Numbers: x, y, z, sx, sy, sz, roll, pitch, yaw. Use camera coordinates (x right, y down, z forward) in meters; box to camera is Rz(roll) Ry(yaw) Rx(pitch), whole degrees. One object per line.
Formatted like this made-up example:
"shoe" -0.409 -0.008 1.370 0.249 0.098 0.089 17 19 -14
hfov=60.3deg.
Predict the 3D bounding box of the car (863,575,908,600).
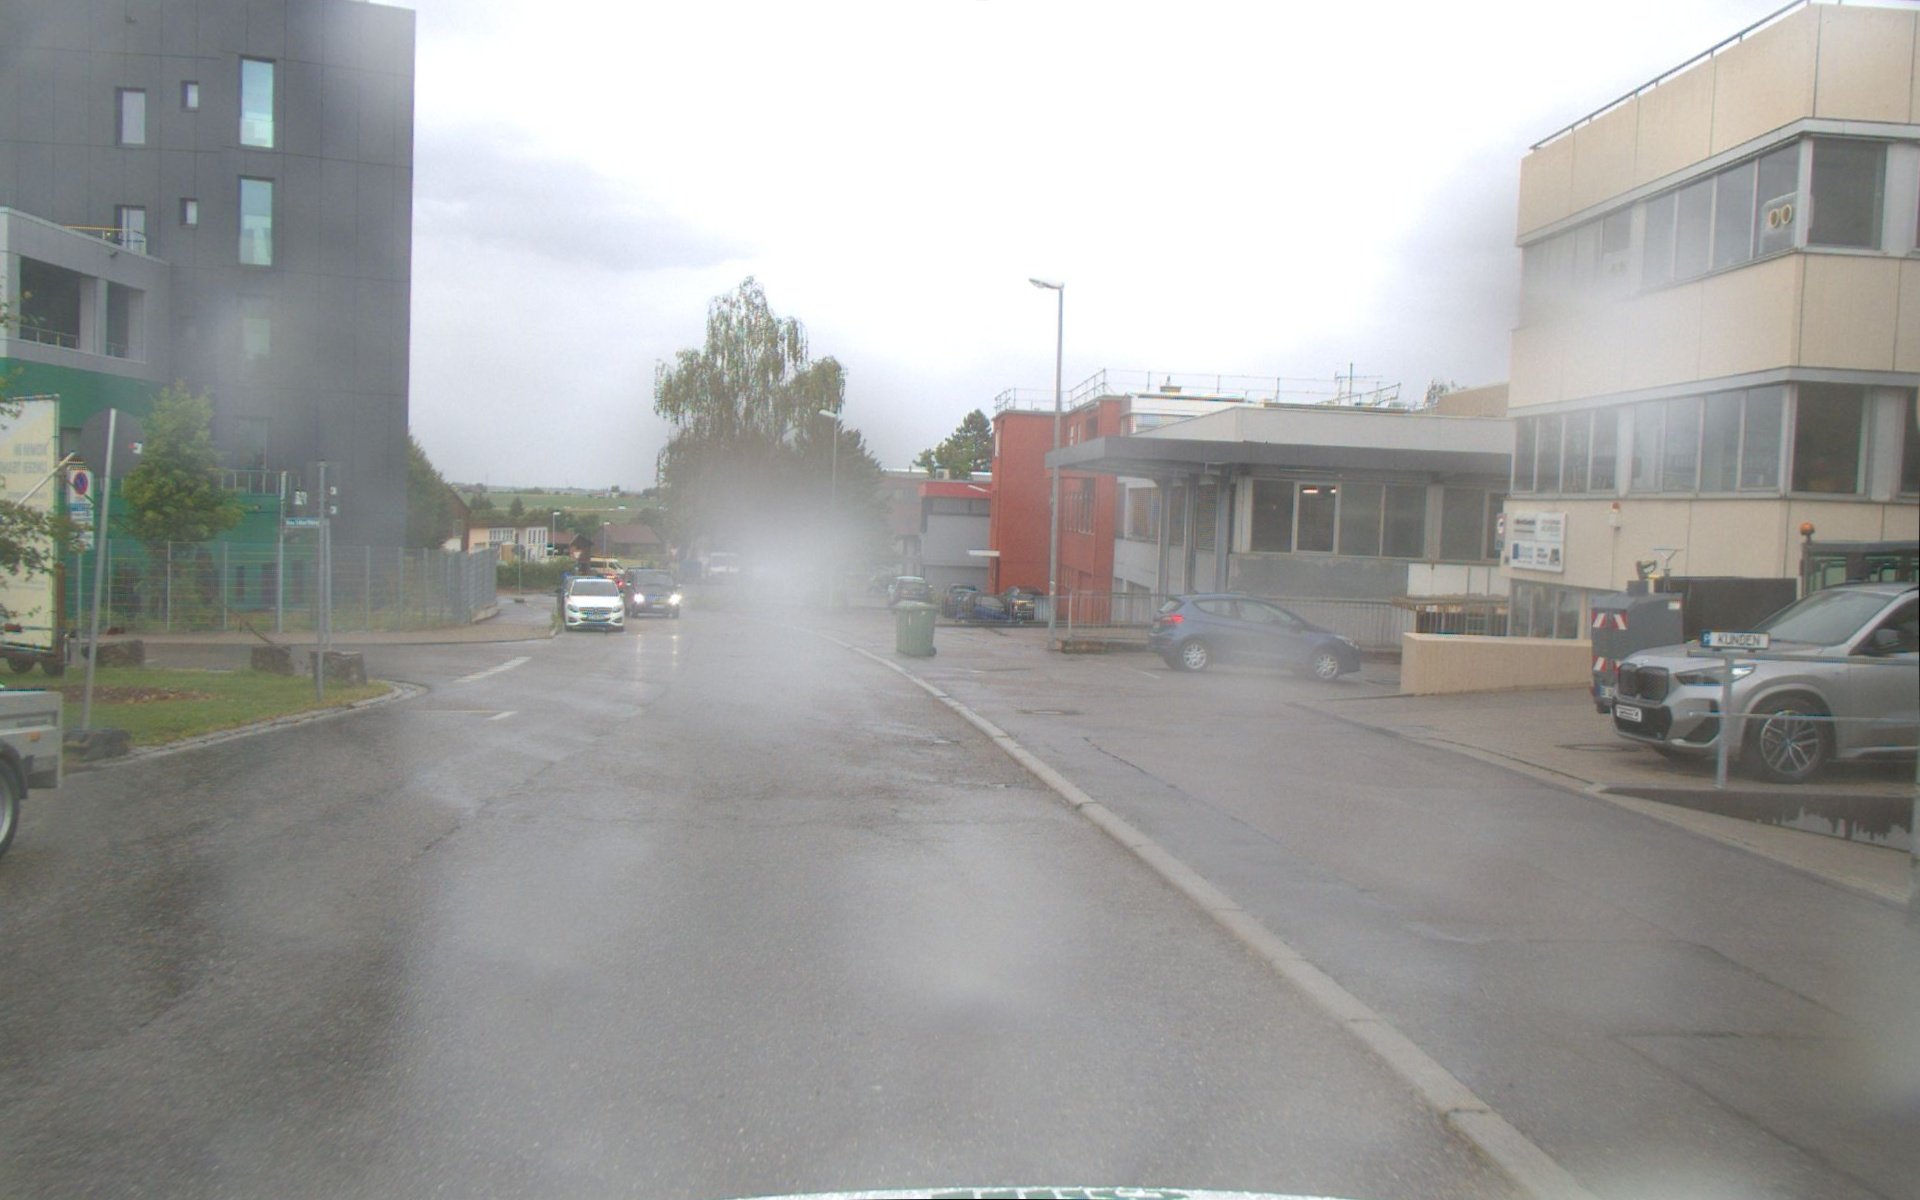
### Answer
"car" -4.409 -0.752 97.276 2.500 1.375 1.240 1 0 -9

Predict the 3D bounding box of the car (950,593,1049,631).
"car" 1.366 0.410 57.662 3.332 1.183 1.791 1 0 -2

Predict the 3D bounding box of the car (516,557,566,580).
"car" -36.749 -2.755 145.257 3.908 1.914 1.999 1 0 -4

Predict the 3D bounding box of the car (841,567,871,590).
"car" -7.385 -1.510 117.134 1.608 1.479 3.499 1 -1 -13

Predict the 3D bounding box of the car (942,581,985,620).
"car" 0.127 0.038 76.115 1.705 1.682 3.997 1 -1 -4

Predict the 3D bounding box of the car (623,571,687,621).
"car" -12.359 -0.197 66.800 1.855 1.919 5.047 1 0 -18

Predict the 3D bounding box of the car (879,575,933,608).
"car" -2.728 -0.407 82.734 2.028 1.579 3.989 1 -1 -11

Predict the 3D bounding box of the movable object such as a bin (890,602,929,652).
"movable object such as a bin" -1.144 0.603 37.235 0.787 1.098 0.623 1 0 -9

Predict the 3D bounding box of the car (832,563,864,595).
"car" -7.569 -1.405 111.236 1.749 2.049 3.624 1 -1 -10

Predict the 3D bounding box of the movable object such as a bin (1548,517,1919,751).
"movable object such as a bin" 8.083 0.321 16.151 4.169 2.147 1.476 1 0 -3

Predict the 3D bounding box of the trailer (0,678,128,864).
"trailer" -5.800 0.909 8.161 1.647 0.904 3.893 1 -1 -4

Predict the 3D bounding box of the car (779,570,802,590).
"car" -11.923 -1.415 116.209 1.373 1.349 2.694 1 -1 -10

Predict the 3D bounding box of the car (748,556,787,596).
"car" -12.780 -1.570 109.542 2.154 2.502 3.988 1 -1 -12

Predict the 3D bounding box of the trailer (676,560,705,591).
"trailer" -18.378 -1.641 112.728 1.819 2.049 3.989 1 0 -11

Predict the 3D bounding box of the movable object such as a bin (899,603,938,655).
"movable object such as a bin" -0.903 0.624 35.512 0.760 1.094 0.582 1 0 -9

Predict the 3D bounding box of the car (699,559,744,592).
"car" -15.697 -1.581 108.902 2.230 2.049 3.978 1 -1 -19

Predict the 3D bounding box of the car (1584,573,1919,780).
"car" 8.232 0.616 14.279 4.991 1.642 1.923 1 1 -4

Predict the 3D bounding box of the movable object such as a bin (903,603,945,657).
"movable object such as a bin" -0.767 0.624 34.873 0.791 1.112 0.708 1 0 -9

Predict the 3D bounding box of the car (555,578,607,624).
"car" -14.259 0.023 62.117 1.673 1.637 3.983 0 1 -16

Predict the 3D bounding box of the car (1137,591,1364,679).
"car" 5.395 0.642 30.985 3.818 1.408 1.819 3 -1 -5

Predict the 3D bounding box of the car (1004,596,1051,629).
"car" 3.037 0.561 75.345 1.695 1.446 3.997 1 -1 -4

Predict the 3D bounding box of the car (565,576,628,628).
"car" -11.337 0.083 51.483 1.741 1.539 4.128 0 0 -15

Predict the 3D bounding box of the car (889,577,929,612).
"car" -2.361 -0.244 75.269 1.663 1.501 3.997 1 -1 -4

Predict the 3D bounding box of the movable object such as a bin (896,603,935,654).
"movable object such as a bin" -0.972 0.618 36.083 0.794 1.109 0.540 1 0 -9

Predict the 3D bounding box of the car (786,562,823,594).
"car" -10.438 -1.465 110.671 2.106 2.049 3.930 1 -1 -10

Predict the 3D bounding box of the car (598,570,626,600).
"car" -24.618 -1.034 117.083 1.837 2.064 3.988 1 -1 -12

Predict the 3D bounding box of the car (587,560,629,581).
"car" -39.716 -3.366 186.762 4.152 2.265 2.000 1 -1 2

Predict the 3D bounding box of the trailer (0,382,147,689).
"trailer" -14.425 -0.914 25.082 4.101 4.276 1.999 0 0 35

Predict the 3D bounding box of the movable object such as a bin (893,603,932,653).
"movable object such as a bin" -1.054 0.618 36.637 0.794 1.095 0.580 1 0 -9
